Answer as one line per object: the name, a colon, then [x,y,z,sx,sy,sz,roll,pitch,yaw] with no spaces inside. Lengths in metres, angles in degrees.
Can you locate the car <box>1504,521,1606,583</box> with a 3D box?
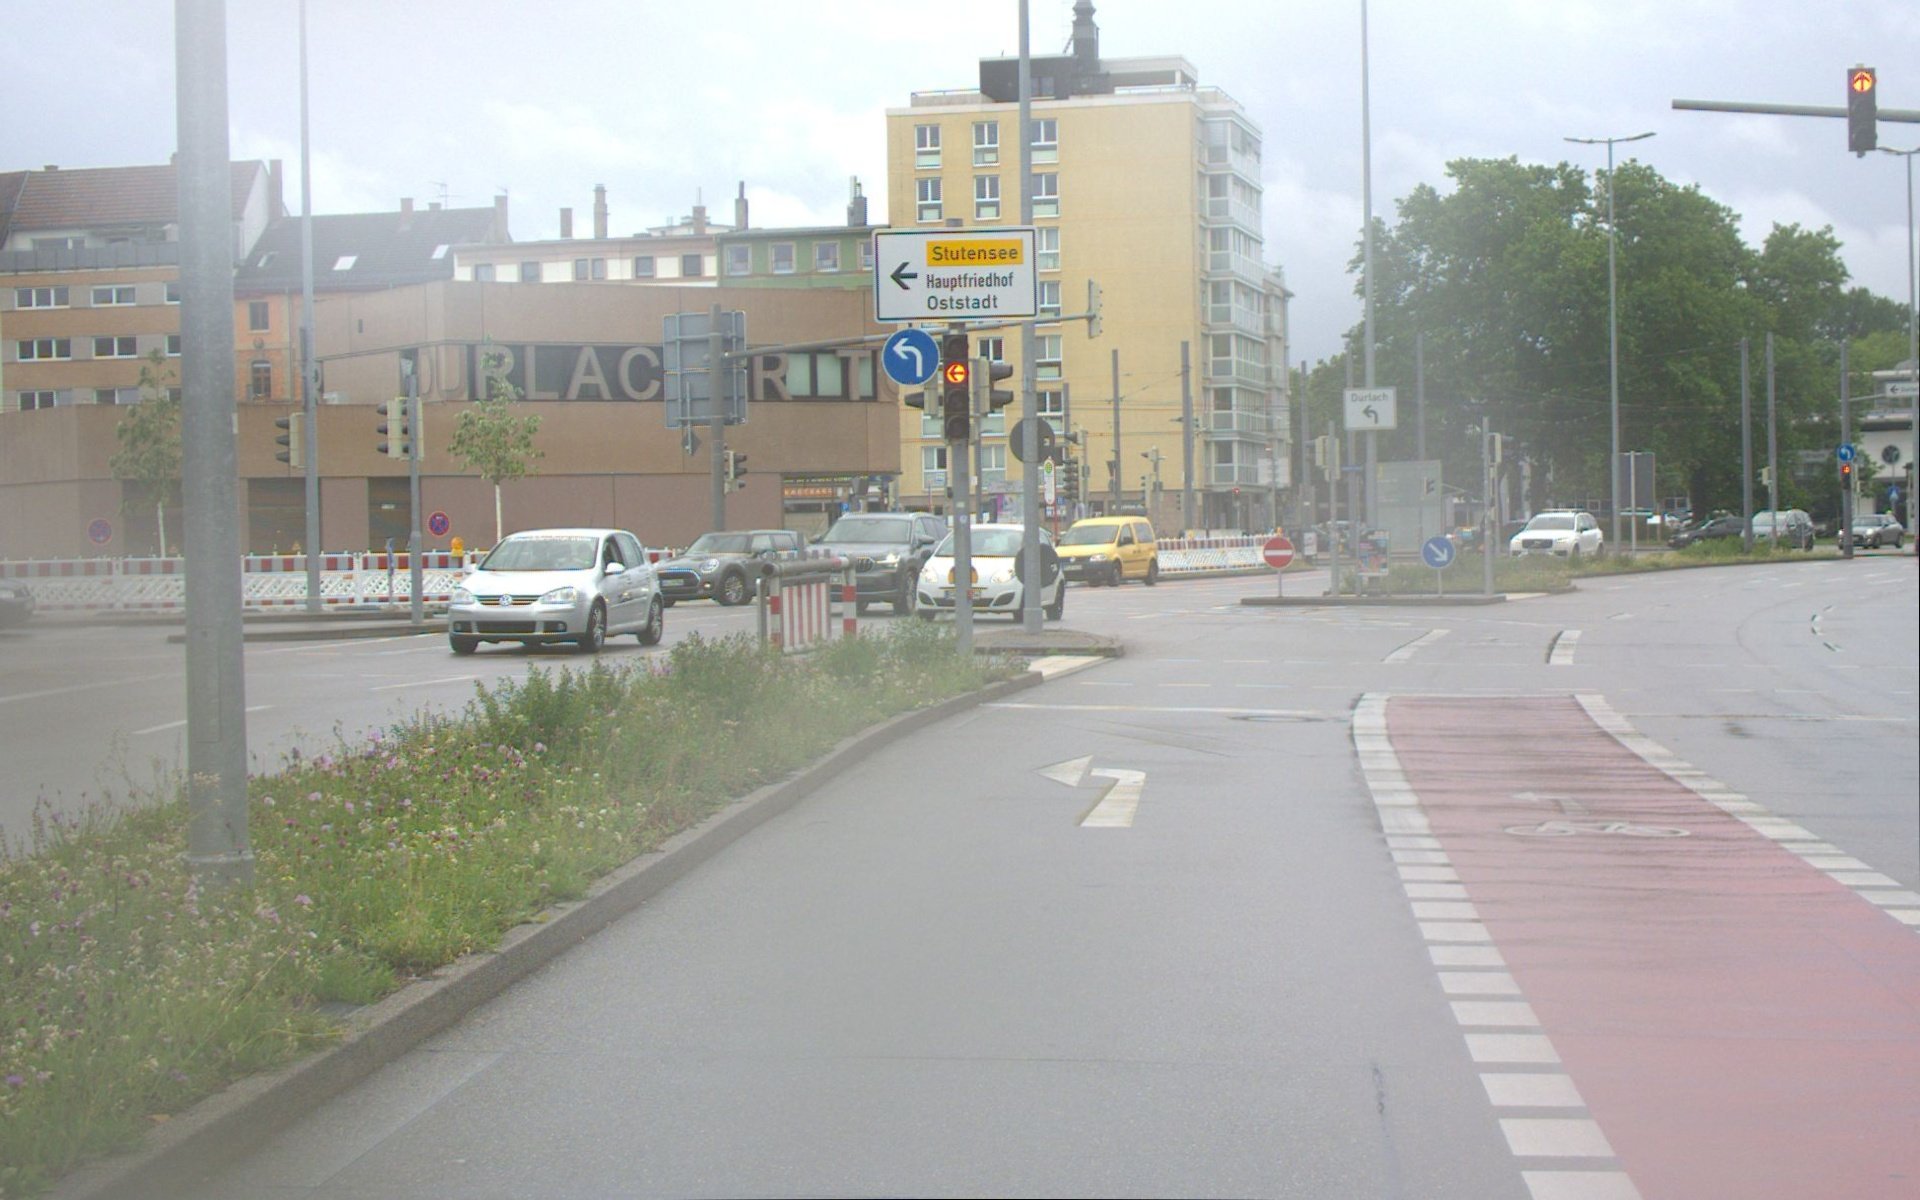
car: [18.060,-1.479,104.195,1.828,1.676,5.160,-2,1,23]

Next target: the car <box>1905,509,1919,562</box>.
car: [30.810,-2.036,106.972,1.793,1.637,4.153,0,1,29]

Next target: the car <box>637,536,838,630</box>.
car: [-4.240,-0.355,65.974,1.709,1.700,3.812,0,2,38]

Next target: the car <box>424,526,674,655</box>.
car: [-4.874,-0.150,41.334,1.680,1.399,4.156,-2,1,12]

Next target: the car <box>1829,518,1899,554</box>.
car: [38.262,-2.717,145.435,1.697,1.411,4.176,0,2,32]

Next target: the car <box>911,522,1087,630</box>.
car: [0.628,-0.392,51.869,1.680,1.496,3.866,-1,1,15]

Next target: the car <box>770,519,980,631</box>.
car: [-1.332,-0.444,56.239,1.995,1.630,4.599,-2,1,18]

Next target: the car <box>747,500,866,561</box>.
car: [-7.450,-3.396,167.457,5.353,2.877,2.338,-1,1,10]

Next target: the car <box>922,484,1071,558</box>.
car: [1.767,-3.811,165.598,6.744,3.368,2.808,-1,1,10]

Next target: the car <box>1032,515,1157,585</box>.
car: [3.419,-1.278,86.825,1.707,1.700,4.147,0,1,24]

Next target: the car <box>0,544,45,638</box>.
car: [-16.272,-0.125,52.408,4.191,1.397,1.618,-1,1,1]
